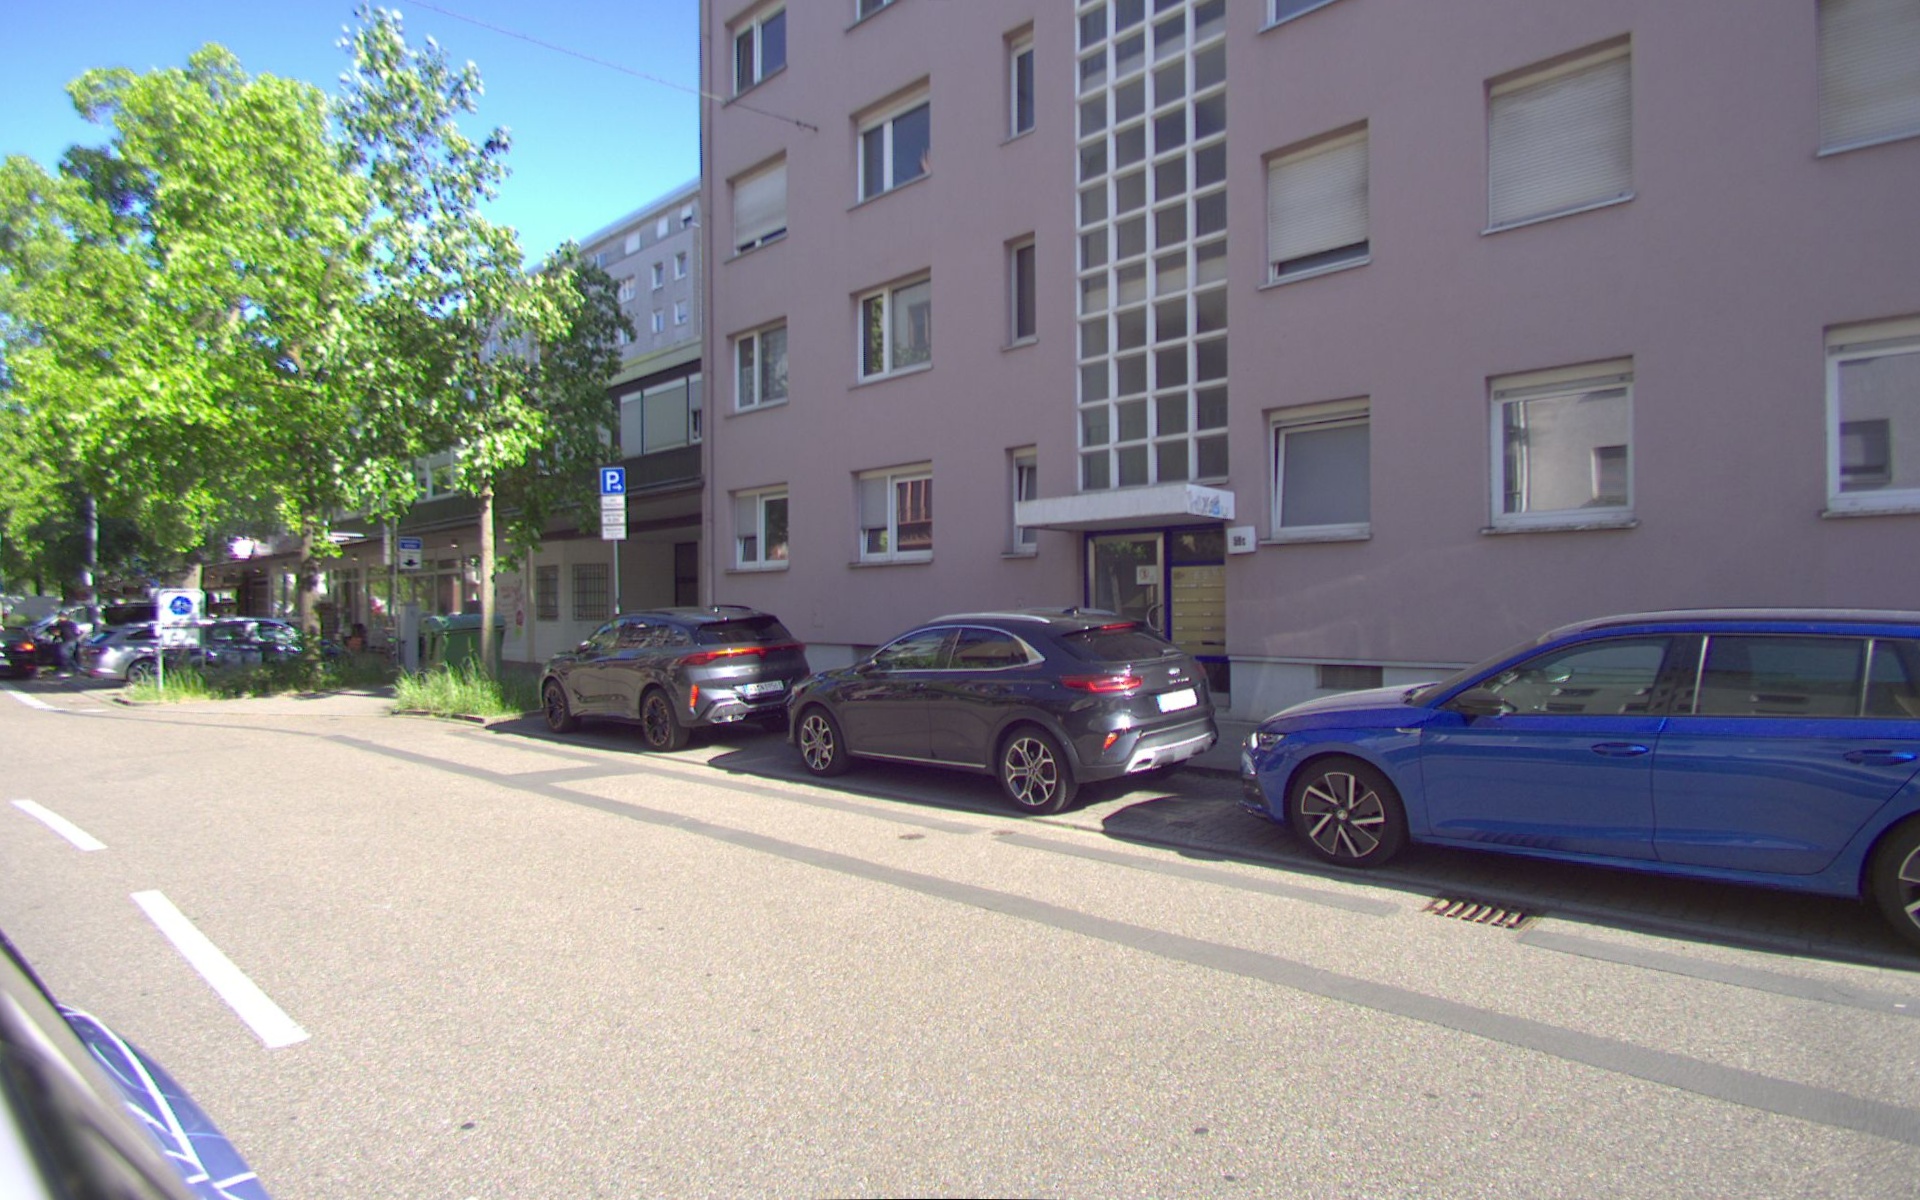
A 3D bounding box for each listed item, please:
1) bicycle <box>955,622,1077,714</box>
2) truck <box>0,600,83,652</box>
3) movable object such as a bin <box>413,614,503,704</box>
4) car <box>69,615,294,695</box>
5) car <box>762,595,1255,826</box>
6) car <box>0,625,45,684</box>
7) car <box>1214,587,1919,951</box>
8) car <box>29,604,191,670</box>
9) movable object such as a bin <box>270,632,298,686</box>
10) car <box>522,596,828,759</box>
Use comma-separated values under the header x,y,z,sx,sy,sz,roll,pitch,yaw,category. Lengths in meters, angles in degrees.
x,y,z,sx,sy,sz,roll,pitch,yaw,category
0.693,0.842,12.926,1.650,1.084,0.386,-1,3,44,bicycle
-48.575,1.313,51.794,1.994,2.615,5.263,-1,-1,32,truck
-9.057,1.032,18.258,1.229,1.557,1.020,0,-1,-43,movable object such as a bin
-18.308,1.215,23.910,2.000,1.687,3.943,-1,-1,43,car
0.228,0.786,9.027,4.247,1.519,1.797,-1,1,44,car
-25.446,1.407,26.594,4.002,1.475,1.842,-2,-1,45,car
3.884,0.716,5.456,4.612,1.476,1.699,-1,1,42,car
-28.360,1.182,33.846,2.000,2.047,3.943,-1,-1,43,car
-15.828,1.366,23.695,0.409,1.234,0.482,-2,-1,43,movable object such as a bin
-3.681,0.848,12.667,4.142,1.604,1.797,-1,2,44,car
